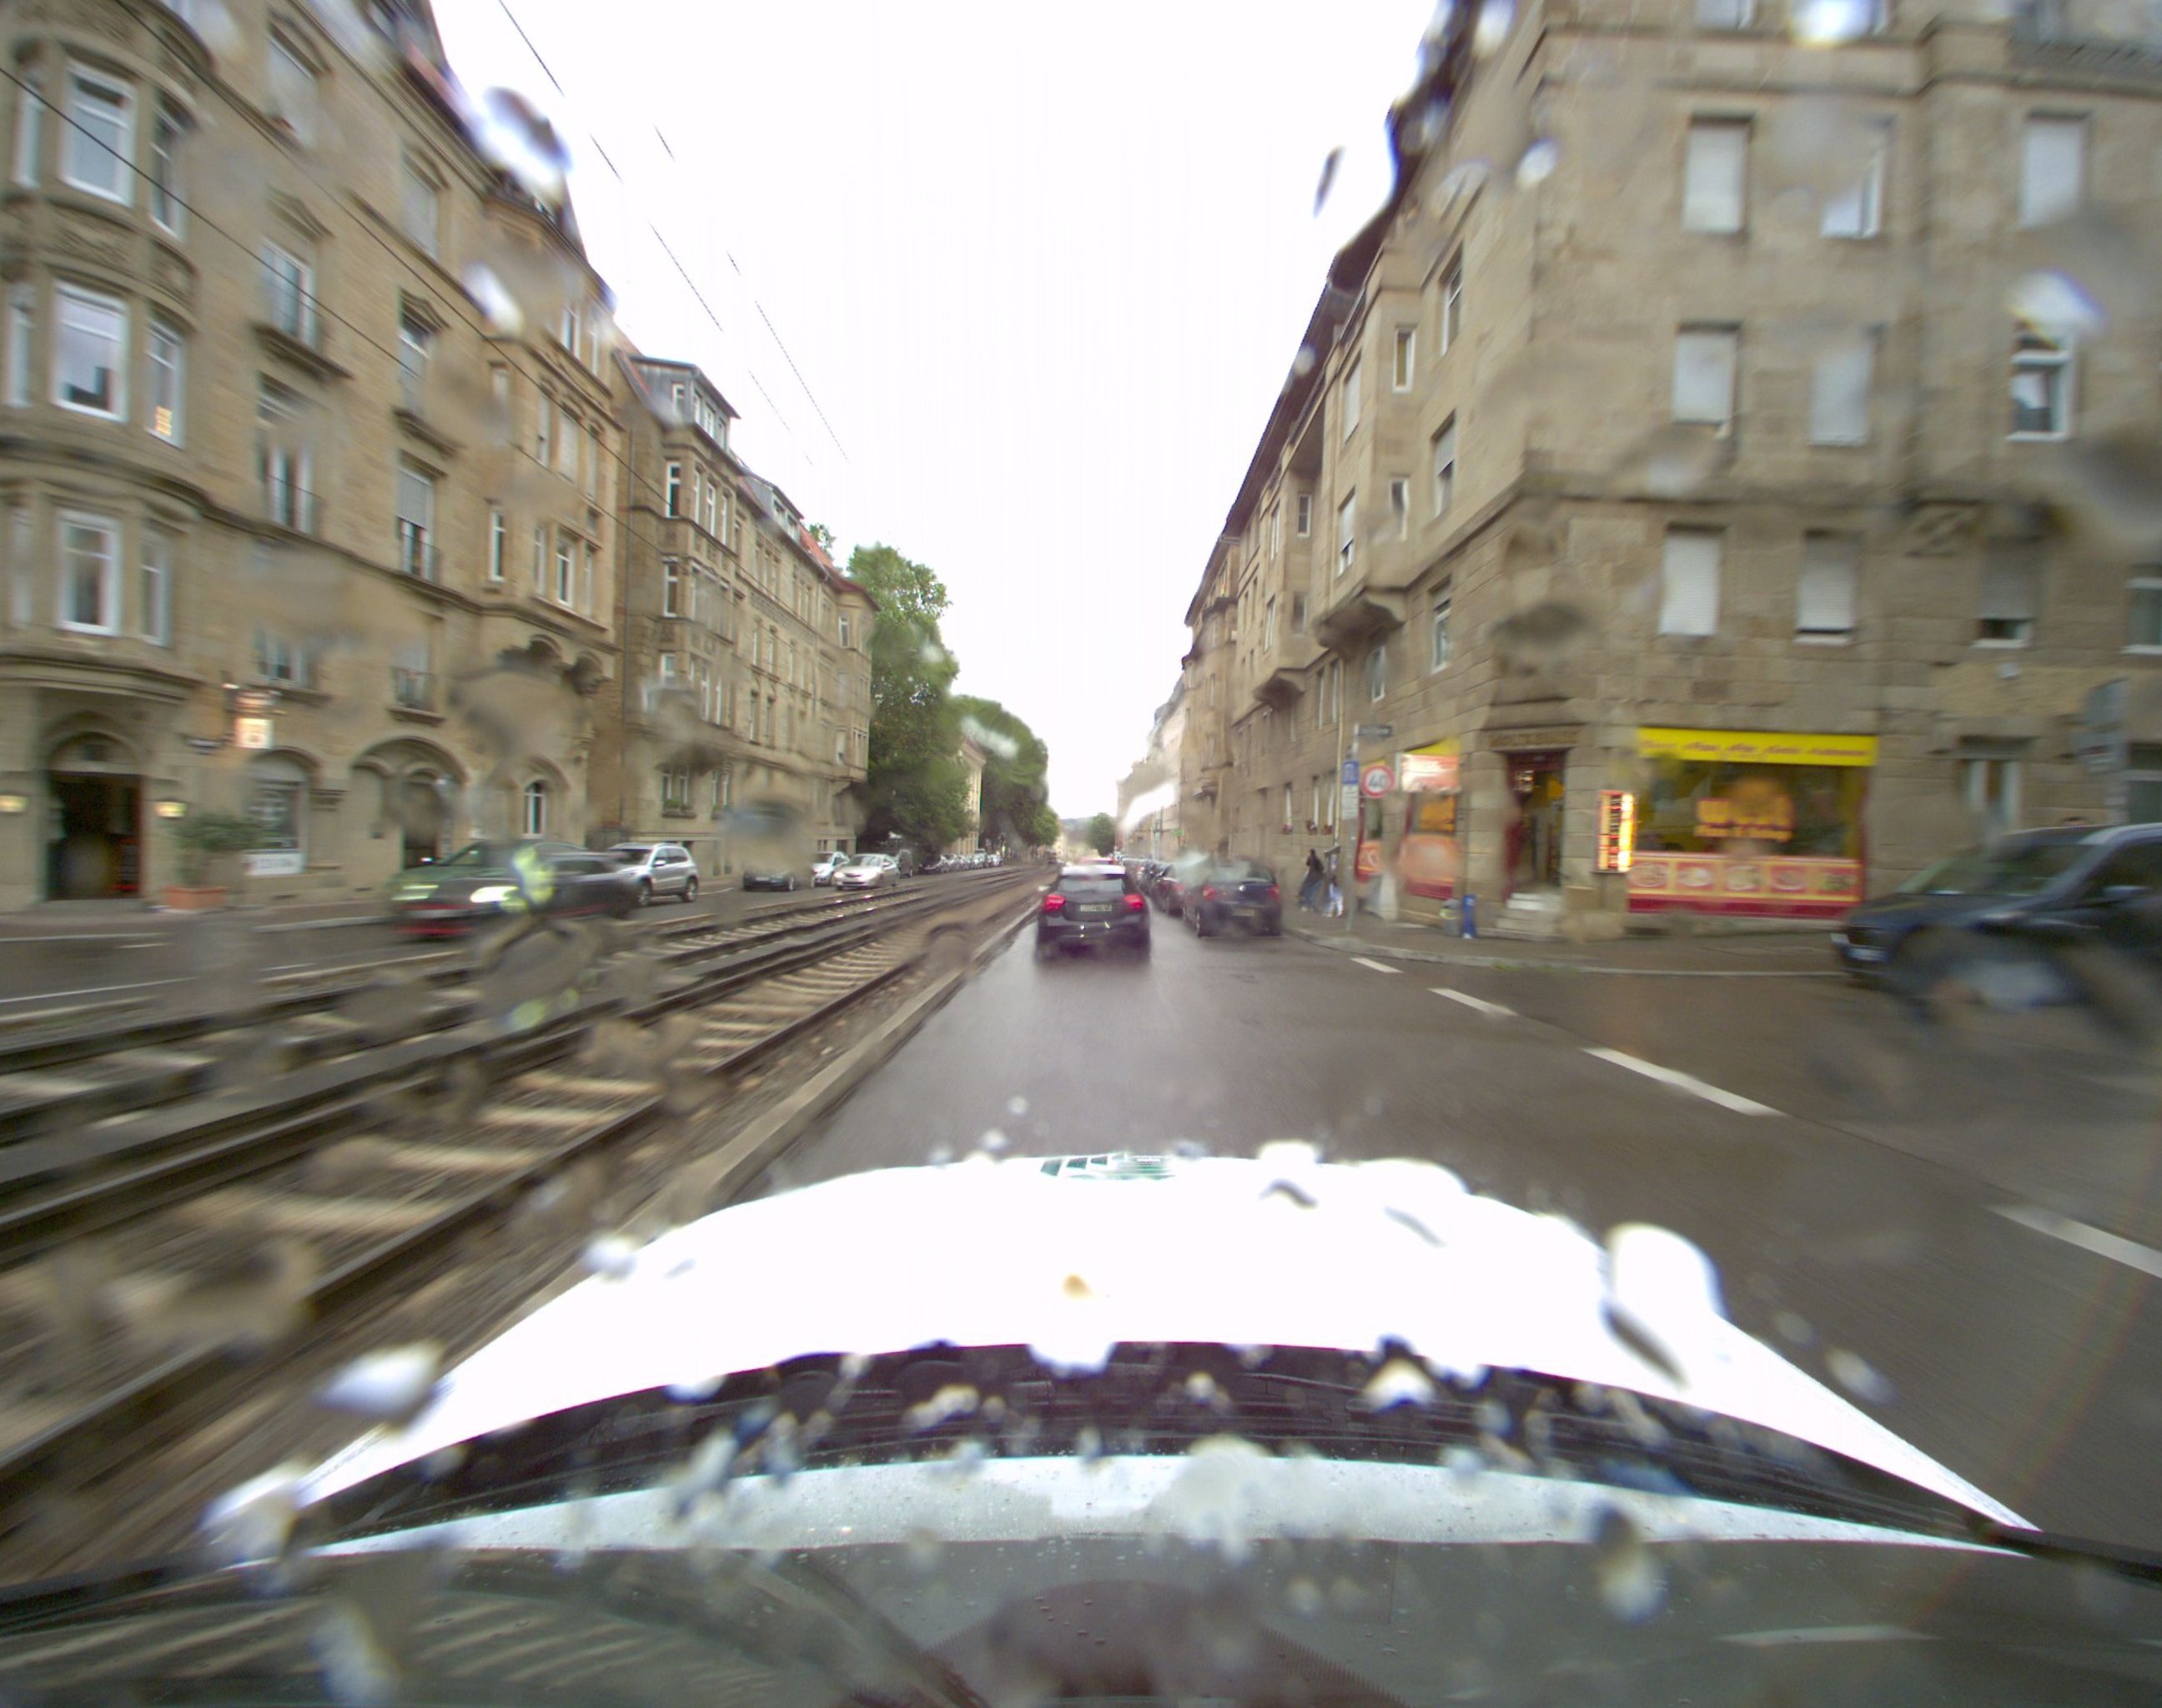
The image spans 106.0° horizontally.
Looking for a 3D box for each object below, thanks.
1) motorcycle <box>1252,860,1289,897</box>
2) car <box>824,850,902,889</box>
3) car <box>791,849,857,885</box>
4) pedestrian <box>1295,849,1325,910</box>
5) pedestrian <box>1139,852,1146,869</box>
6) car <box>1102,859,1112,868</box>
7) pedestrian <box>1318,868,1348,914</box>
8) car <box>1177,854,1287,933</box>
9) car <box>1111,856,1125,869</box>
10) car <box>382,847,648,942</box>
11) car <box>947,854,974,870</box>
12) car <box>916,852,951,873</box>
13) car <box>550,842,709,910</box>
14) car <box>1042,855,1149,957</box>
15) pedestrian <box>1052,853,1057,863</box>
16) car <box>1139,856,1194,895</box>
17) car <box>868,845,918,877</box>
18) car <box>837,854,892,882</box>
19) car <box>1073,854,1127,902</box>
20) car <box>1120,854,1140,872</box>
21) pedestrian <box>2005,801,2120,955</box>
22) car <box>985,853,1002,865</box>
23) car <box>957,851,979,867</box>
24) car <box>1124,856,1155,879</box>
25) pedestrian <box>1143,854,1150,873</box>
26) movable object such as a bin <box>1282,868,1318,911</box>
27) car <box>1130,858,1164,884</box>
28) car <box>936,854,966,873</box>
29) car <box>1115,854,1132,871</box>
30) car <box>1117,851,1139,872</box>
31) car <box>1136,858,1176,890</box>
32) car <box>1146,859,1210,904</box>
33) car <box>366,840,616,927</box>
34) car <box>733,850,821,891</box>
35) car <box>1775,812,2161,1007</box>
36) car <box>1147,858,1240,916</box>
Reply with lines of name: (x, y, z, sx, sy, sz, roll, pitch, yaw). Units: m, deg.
motorcycle: (6.603, 0.832, 28.550, 0.702, 1.199, 2.746, 1, 0, 1)
car: (-8.665, 0.590, 32.803, 1.975, 1.457, 4.293, 0, 0, 0)
car: (-11.667, 0.561, 37.189, 1.689, 1.524, 3.856, 0, 0, 2)
pedestrian: (5.905, 0.652, 21.014, 0.559, 1.535, 0.710, 1, 0, 1)
pedestrian: (6.969, 0.716, 92.785, 0.743, 1.833, 1.039, -2, 0, 2)
car: (4.863, 1.860, 153.833, 1.820, 1.618, 3.865, -1, 0, 1)
pedestrian: (5.873, 0.852, 18.985, 0.509, 1.050, 0.627, 1, 0, 1)
car: (3.026, 0.732, 17.009, 1.665, 1.444, 3.791, -1, 0, 1)
car: (4.656, 1.062, 103.503, 1.687, 1.529, 4.001, 1, 0, 1)
car: (-9.325, 0.592, 13.847, 1.697, 1.388, 3.785, 0, 0, 4)
car: (-10.956, 0.690, 74.160, 1.748, 1.413, 4.153, -1, 0, 0)
car: (-11.154, 0.617, 61.841, 1.843, 1.464, 4.549, -1, 0, -1)
car: (-11.946, 0.542, 21.920, 1.853, 1.652, 4.314, 0, 0, 0)
car: (0.238, 0.779, 13.950, 1.575, 1.505, 3.574, 1, 0, 1)
pedestrian: (-4.579, 0.730, 139.494, 0.803, 1.634, 0.892, -1, 0, 1)
car: (3.417, 0.838, 33.261, 1.782, 1.462, 4.082, 1, 0, 0)
car: (-11.333, 0.421, 49.399, 1.794, 1.846, 4.819, 0, 0, 1)
car: (-11.446, 0.710, 43.255, 1.757, 1.398, 4.269, 0, 0, 0)
car: (0.665, 0.800, 28.905, 1.779, 1.581, 4.001, 1, 0, 1)
car: (4.140, 0.776, 68.868, 1.564, 1.462, 3.600, 0, 0, 1)
pedestrian: (13.263, 0.303, 11.027, 0.623, 2.013, 0.757, -1, 2, 2)
car: (-10.456, 0.609, 97.362, 1.494, 1.391, 3.989, -1, 0, 2)
car: (-10.857, 0.477, 78.596, 1.534, 1.413, 3.952, -1, 0, 0)
car: (3.734, 0.860, 52.428, 1.662, 1.434, 3.955, 0, 0, 0)
pedestrian: (6.146, 0.909, 76.495, 0.605, 1.763, 0.688, -1, 0, 0)
movable object such as a bin: (5.888, 0.932, 21.958, 0.663, 1.103, 1.124, 1, 0, 1)
car: (3.791, 0.951, 47.145, 1.586, 1.434, 3.682, 0, 0, -1)
car: (-10.966, 0.807, 69.004, 1.748, 1.536, 4.542, -1, 0, 0)
car: (4.607, 0.888, 88.180, 1.821, 1.750, 4.470, 1, 0, 3)
car: (4.217, 0.667, 73.351, 1.785, 1.765, 4.212, 0, 0, 0)
car: (3.413, 0.888, 37.539, 1.539, 1.415, 3.445, 1, 0, 0)
car: (3.252, 0.879, 27.923, 1.701, 1.398, 4.017, 1, 0, 0)
car: (-12.079, 0.549, 17.141, 1.851, 1.602, 4.433, 0, 0, 3)
car: (-11.887, 0.619, 32.152, 1.864, 1.508, 4.170, 0, 0, 1)
car: (10.967, 0.507, 9.065, 4.762, 1.861, 2.000, -2, 0, 0)
car: (2.959, 0.820, 22.281, 1.750, 1.387, 4.481, -1, 0, -2)
